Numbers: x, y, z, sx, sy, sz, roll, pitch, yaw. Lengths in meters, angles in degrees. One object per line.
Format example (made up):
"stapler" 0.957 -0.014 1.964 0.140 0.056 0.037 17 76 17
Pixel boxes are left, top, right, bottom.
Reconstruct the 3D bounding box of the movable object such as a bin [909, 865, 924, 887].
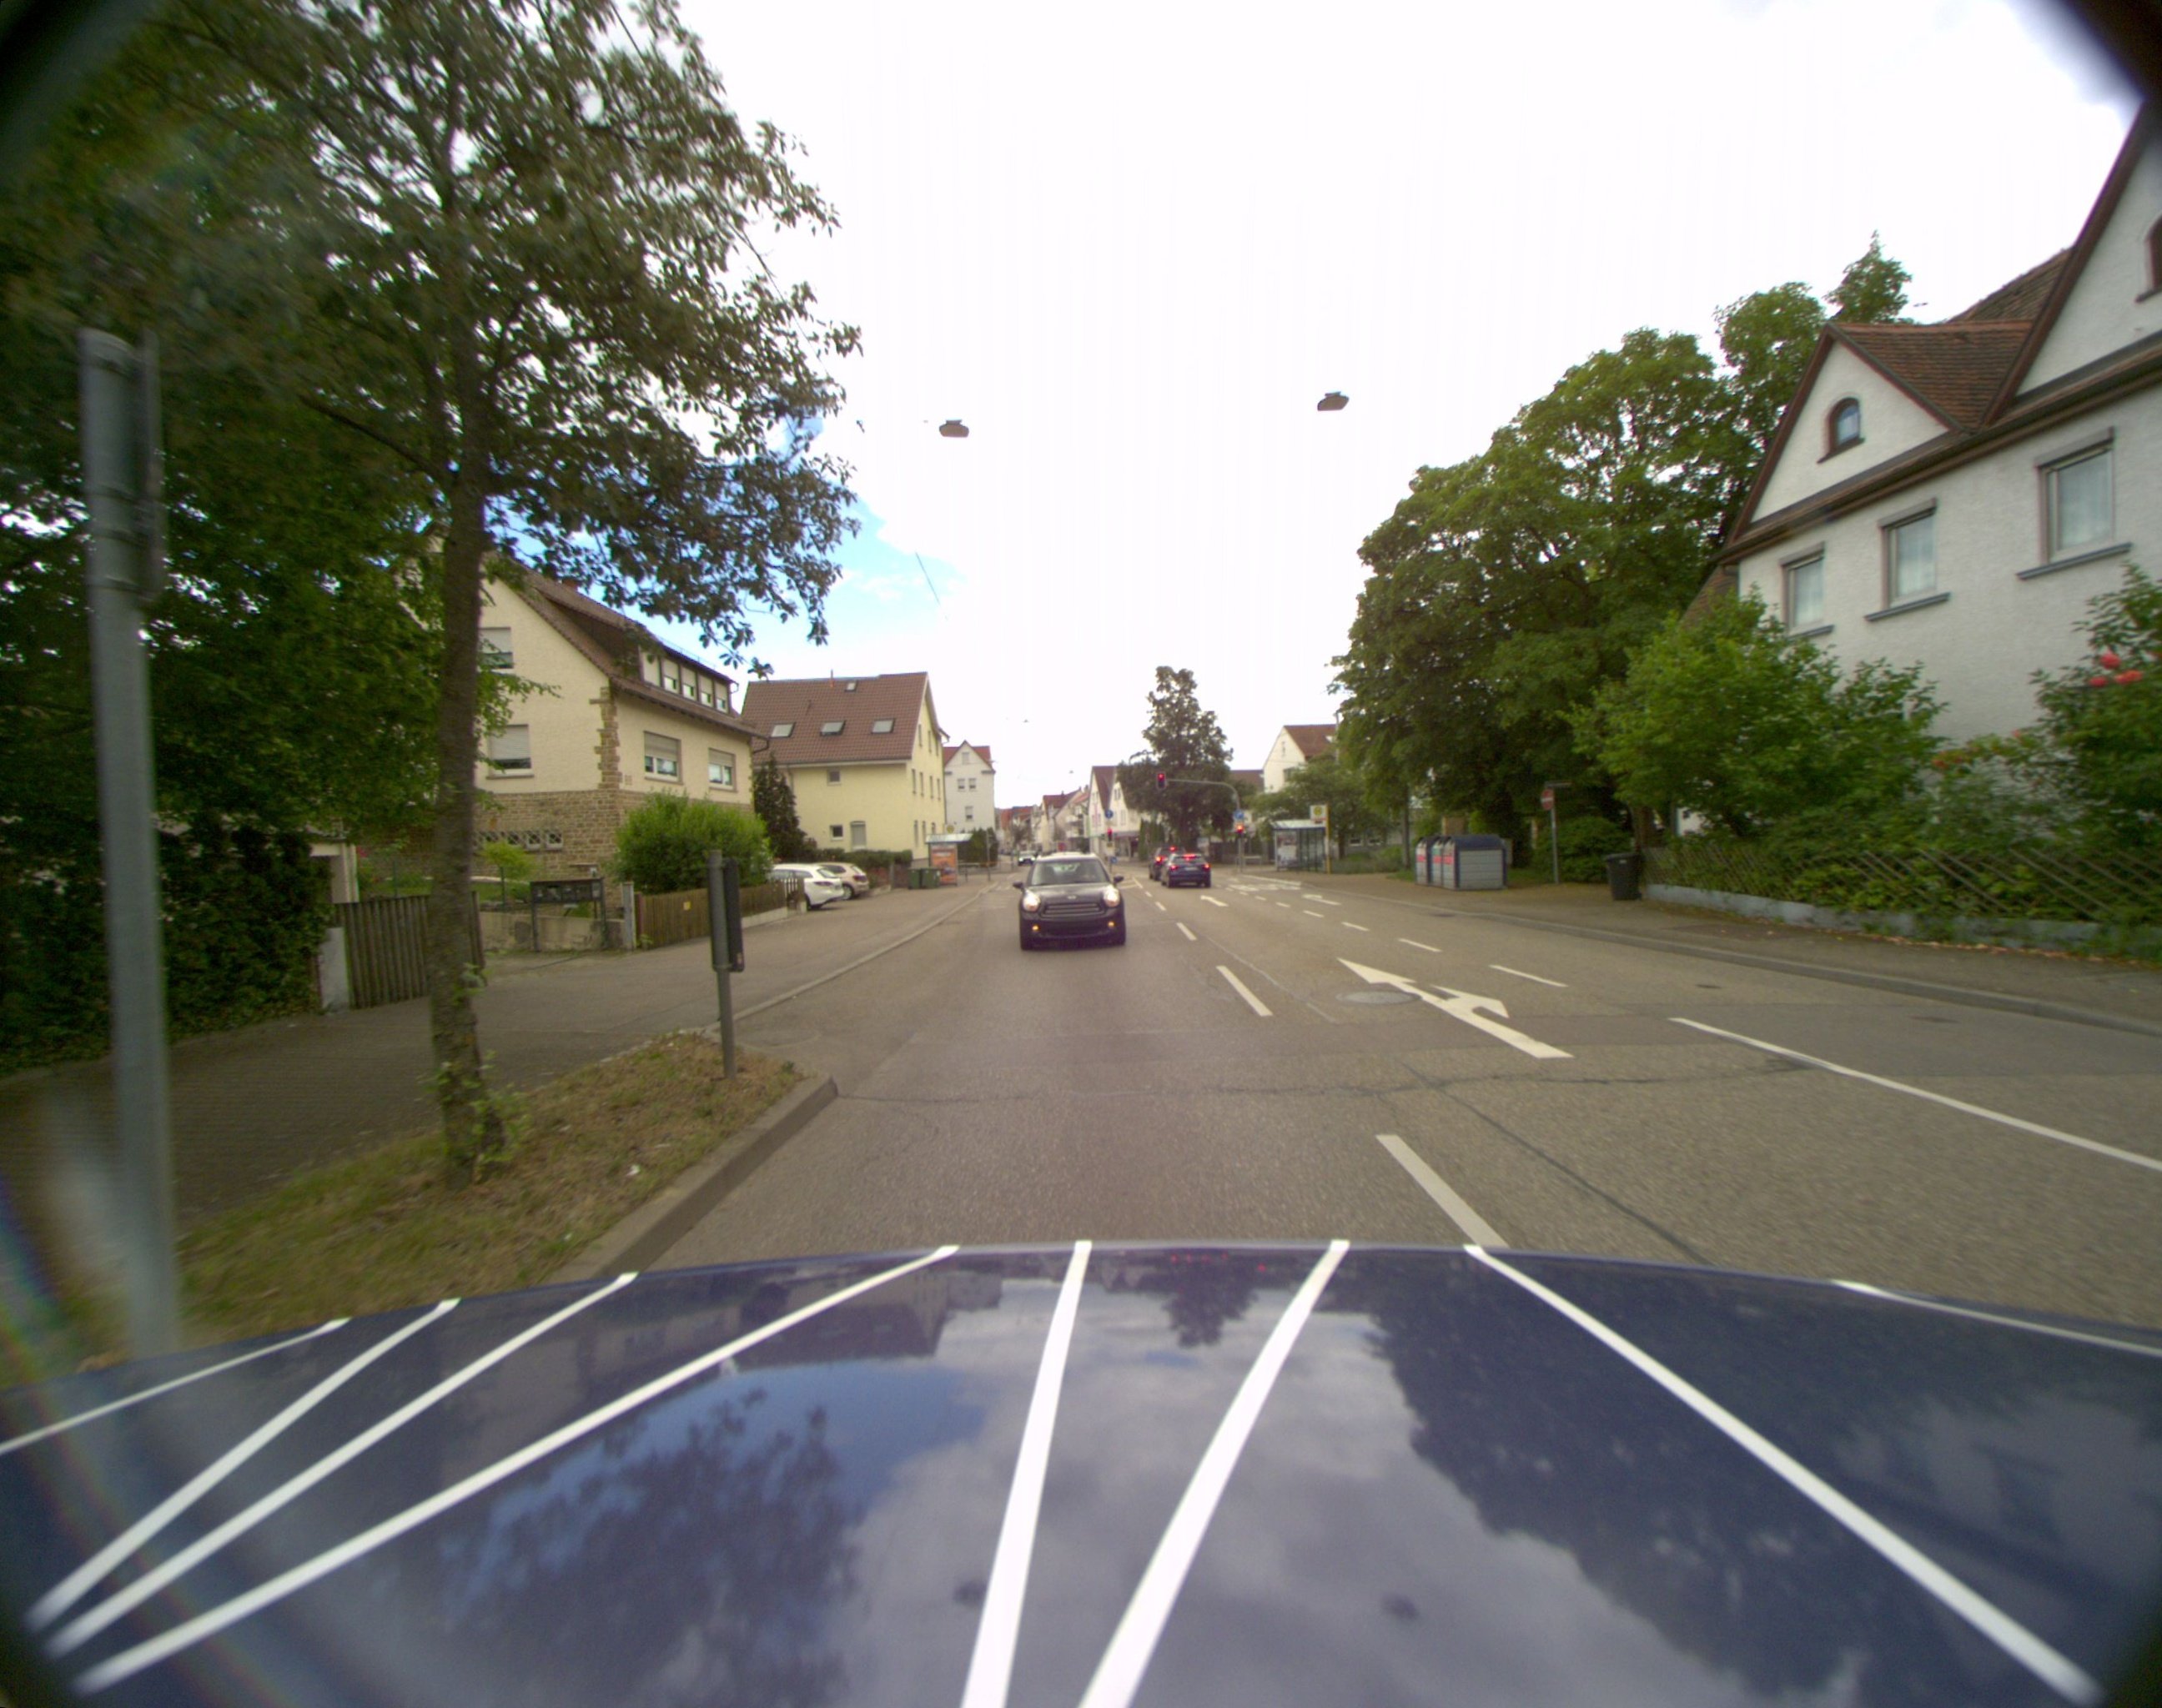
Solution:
"movable object such as a bin" -7.967 1.063 36.885 0.638 1.040 0.585 -1 2 -7

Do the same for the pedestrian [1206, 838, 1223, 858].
"pedestrian" 12.275 -0.526 69.933 1.226 1.744 0.825 -1 2 35

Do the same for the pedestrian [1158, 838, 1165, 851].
"pedestrian" 7.936 -0.973 75.021 0.383 1.255 0.549 -3 2 -20

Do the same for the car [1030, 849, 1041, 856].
"car" -8.798 -0.297 146.556 1.635 1.404 3.995 -1 1 -13

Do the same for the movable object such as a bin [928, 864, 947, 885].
"movable object such as a bin" -7.122 1.016 37.737 0.636 1.040 0.592 -2 2 26

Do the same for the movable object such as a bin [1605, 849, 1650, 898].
"movable object such as a bin" 12.044 0.420 16.772 0.718 1.013 0.724 -4 -1 33

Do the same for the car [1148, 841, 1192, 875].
"car" 4.572 0.160 39.486 1.762 1.626 4.594 1 2 1

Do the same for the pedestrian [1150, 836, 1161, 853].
"pedestrian" 7.342 -0.914 74.894 0.642 1.596 0.865 -3 2 -20

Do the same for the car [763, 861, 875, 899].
"car" -10.144 0.991 29.613 3.814 1.394 1.639 0 2 -4

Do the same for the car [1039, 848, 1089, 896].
"car" -0.688 0.662 30.768 1.811 1.556 4.615 -2 3 -1

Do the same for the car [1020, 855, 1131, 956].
"car" -0.163 0.815 13.977 1.694 1.507 3.999 -2 0 -2

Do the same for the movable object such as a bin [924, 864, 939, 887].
"movable object such as a bin" -7.262 1.036 36.968 0.638 1.040 0.585 -3 2 -7

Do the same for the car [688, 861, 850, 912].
"car" -9.918 1.002 24.428 4.431 1.480 1.864 0 2 0

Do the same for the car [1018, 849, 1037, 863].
"car" -6.457 0.228 91.103 1.847 1.510 3.996 -3 2 -9

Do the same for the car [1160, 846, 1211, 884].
"car" 4.364 0.415 32.224 1.568 1.412 4.129 -1 2 0
